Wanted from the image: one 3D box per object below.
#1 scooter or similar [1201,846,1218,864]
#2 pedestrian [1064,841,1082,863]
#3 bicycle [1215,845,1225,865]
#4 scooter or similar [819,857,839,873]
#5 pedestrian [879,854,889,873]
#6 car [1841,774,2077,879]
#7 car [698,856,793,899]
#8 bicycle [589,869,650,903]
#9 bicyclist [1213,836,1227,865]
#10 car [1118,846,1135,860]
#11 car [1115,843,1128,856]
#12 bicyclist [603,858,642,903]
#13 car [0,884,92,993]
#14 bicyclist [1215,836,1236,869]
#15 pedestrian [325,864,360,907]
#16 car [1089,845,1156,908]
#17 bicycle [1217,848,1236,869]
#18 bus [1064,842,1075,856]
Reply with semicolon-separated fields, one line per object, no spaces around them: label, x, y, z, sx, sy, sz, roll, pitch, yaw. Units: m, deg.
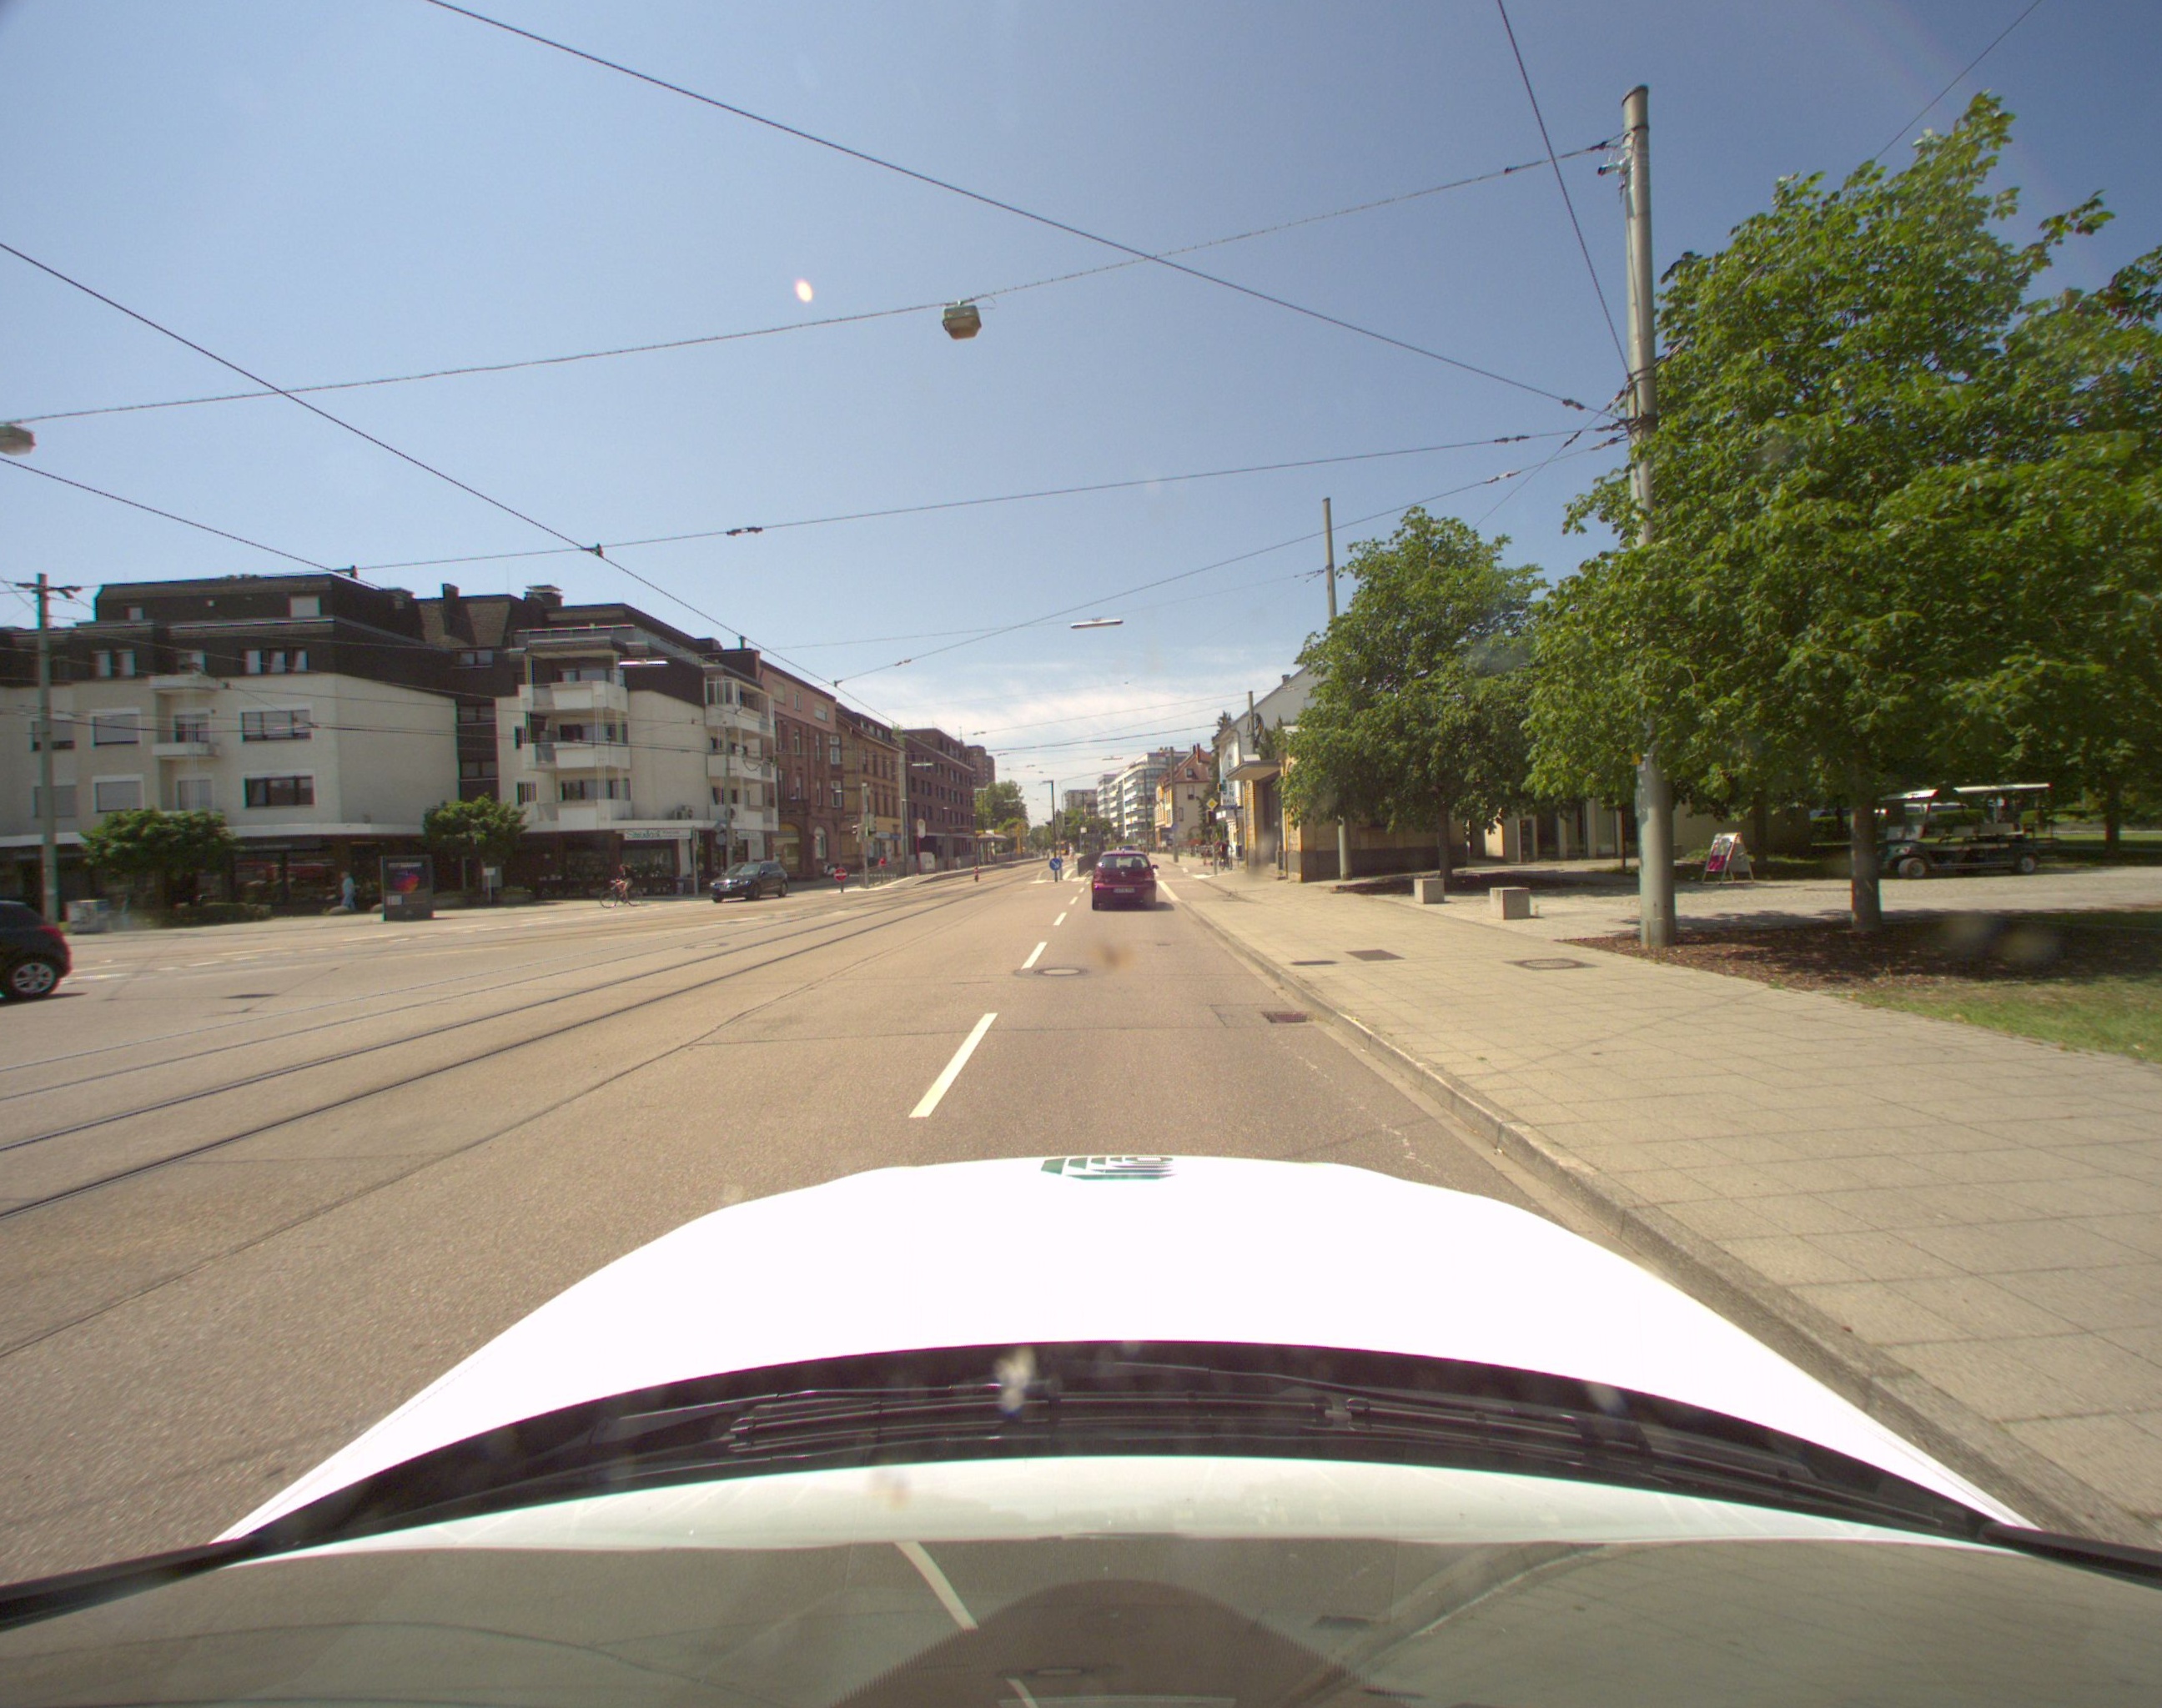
scooter or similar;8.227;0.065;52.152;0.340;1.177;1.457;-2;0;-21
pedestrian;-0.620;-0.164;64.670;1.106;1.674;0.756;-2;0;-43
bicycle;8.669;0.054;50.743;0.372;1.197;1.912;-2;1;14
scooter or similar;-18.864;0.806;60.984;0.484;1.082;1.585;-2;1;19
pedestrian;-16.856;0.806;69.591;0.612;1.560;0.641;-3;0;2
car;18.851;-0.564;17.591;3.318;2.014;1.465;-3;-1;3
car;-14.200;0.945;34.773;1.785;1.579;4.501;-3;1;5
bicycle;-19.207;1.319;33.957;0.670;1.304;2.118;-3;0;30
bicyclist;8.646;-0.247;50.804;0.722;1.760;0.927;-2;0;14
car;5.616;-0.157;101.098;1.986;1.624;4.634;-2;0;2
car;6.347;-0.739;127.680;1.985;1.848;4.003;-3;1;2
bicyclist;-19.164;1.099;34.052;0.725;1.762;1.142;-3;0;30
car;-15.662;1.216;10.169;1.702;1.438;3.870;-2;0;4
bicyclist;7.617;-0.081;42.923;0.829;1.618;0.861;-6;0;3
pedestrian;-30.068;1.272;33.162;0.693;1.696;0.812;-2;0;23
car;1.063;0.537;21.116;1.555;1.453;3.063;-2;0;2
bicycle;7.654;0.236;42.875;0.665;1.002;1.865;-6;0;4
bus;-2.770;-1.146;191.457;2.141;3.003;6.562;-2;0;-5
